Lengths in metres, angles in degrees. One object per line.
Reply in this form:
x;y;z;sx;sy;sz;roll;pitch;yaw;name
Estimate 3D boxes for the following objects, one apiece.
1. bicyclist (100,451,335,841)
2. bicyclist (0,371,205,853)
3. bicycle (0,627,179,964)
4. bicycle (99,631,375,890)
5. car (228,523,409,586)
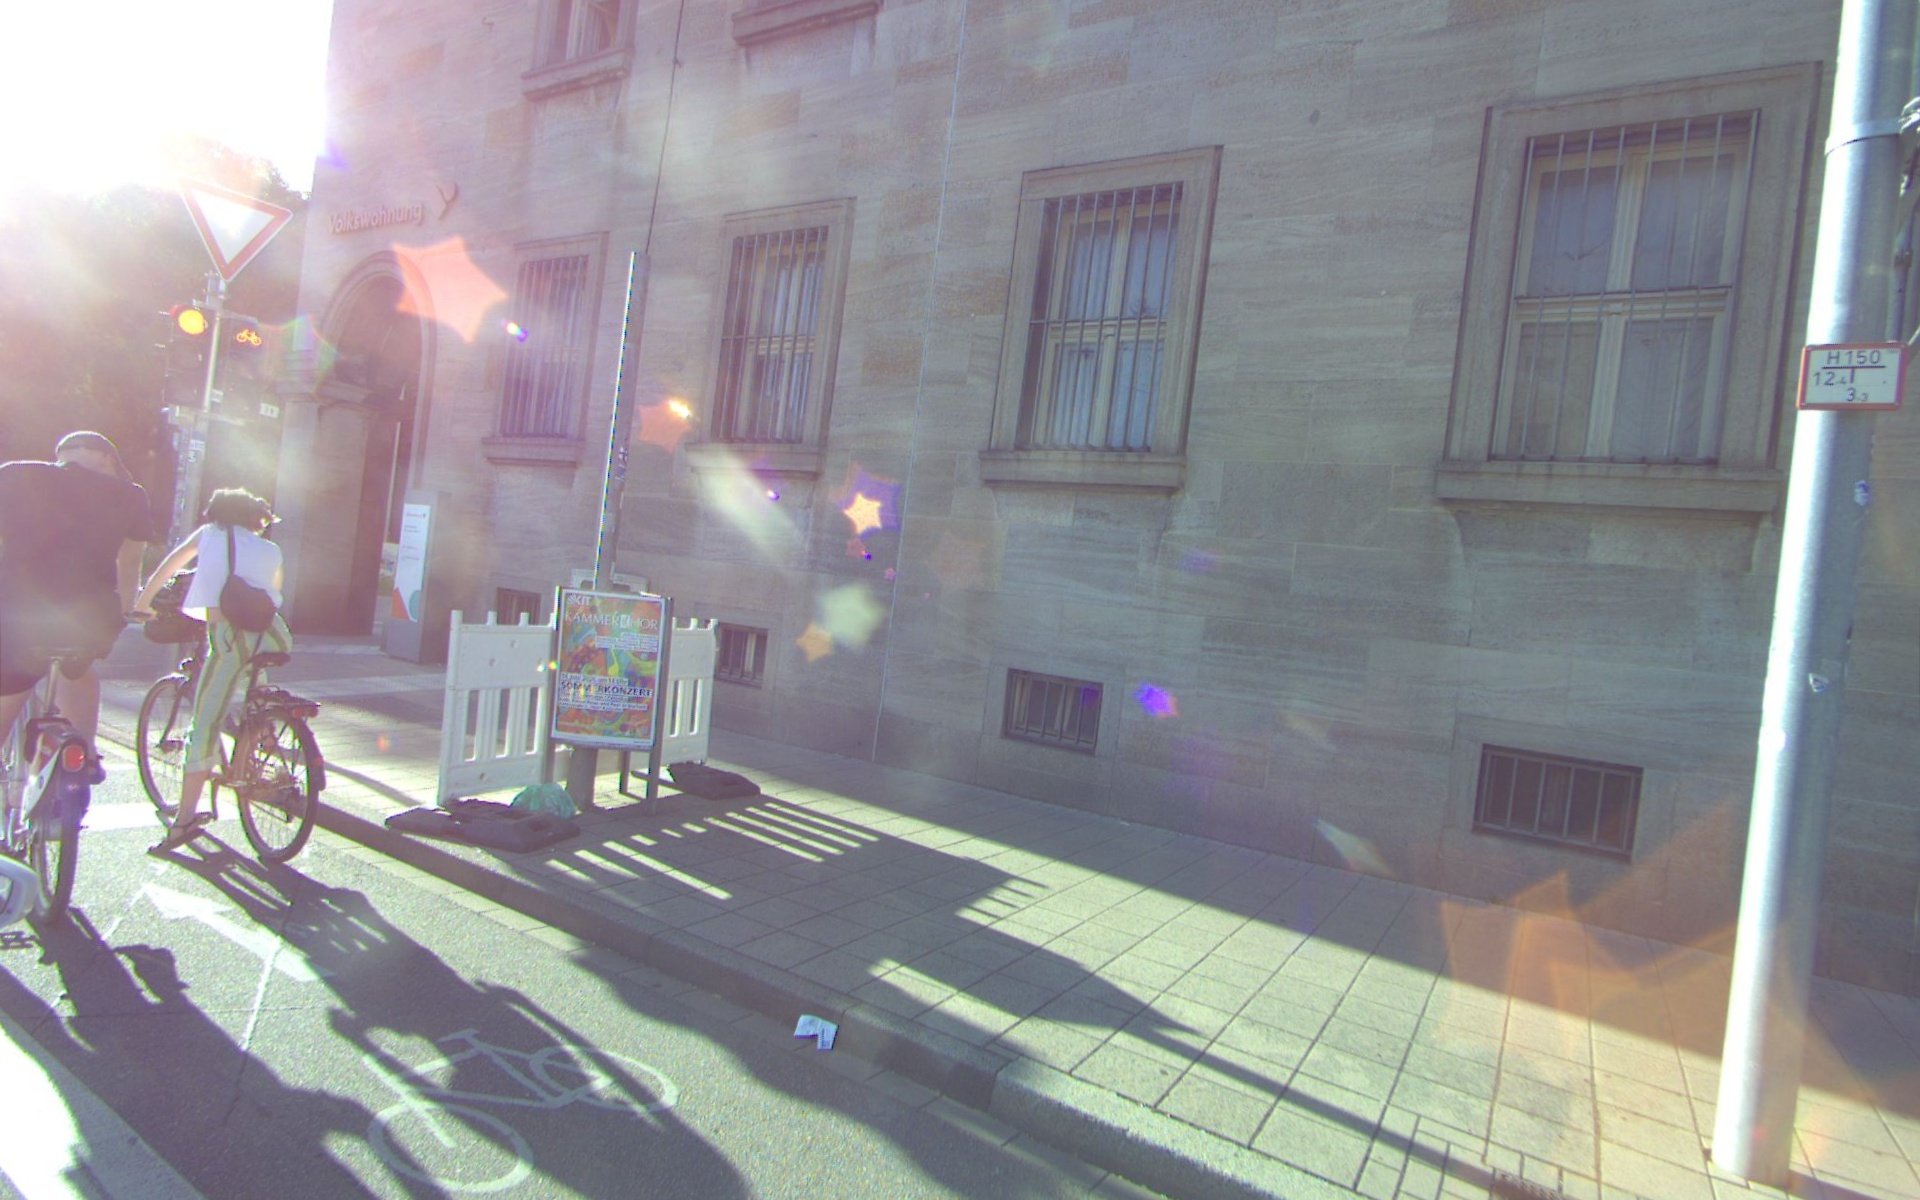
-3.567;0.189;4.829;0.845;1.700;0.522;7;1;35;bicyclist
-3.502;0.045;3.898;0.647;1.698;0.669;7;1;41;bicyclist
-3.678;0.670;4.059;1.923;0.916;0.388;7;0;41;bicycle
-3.626;0.714;4.974;1.920;0.887;0.427;7;0;35;bicycle
-20.268;-1.418;31.982;1.748;1.345;4.446;7;-1;34;car
